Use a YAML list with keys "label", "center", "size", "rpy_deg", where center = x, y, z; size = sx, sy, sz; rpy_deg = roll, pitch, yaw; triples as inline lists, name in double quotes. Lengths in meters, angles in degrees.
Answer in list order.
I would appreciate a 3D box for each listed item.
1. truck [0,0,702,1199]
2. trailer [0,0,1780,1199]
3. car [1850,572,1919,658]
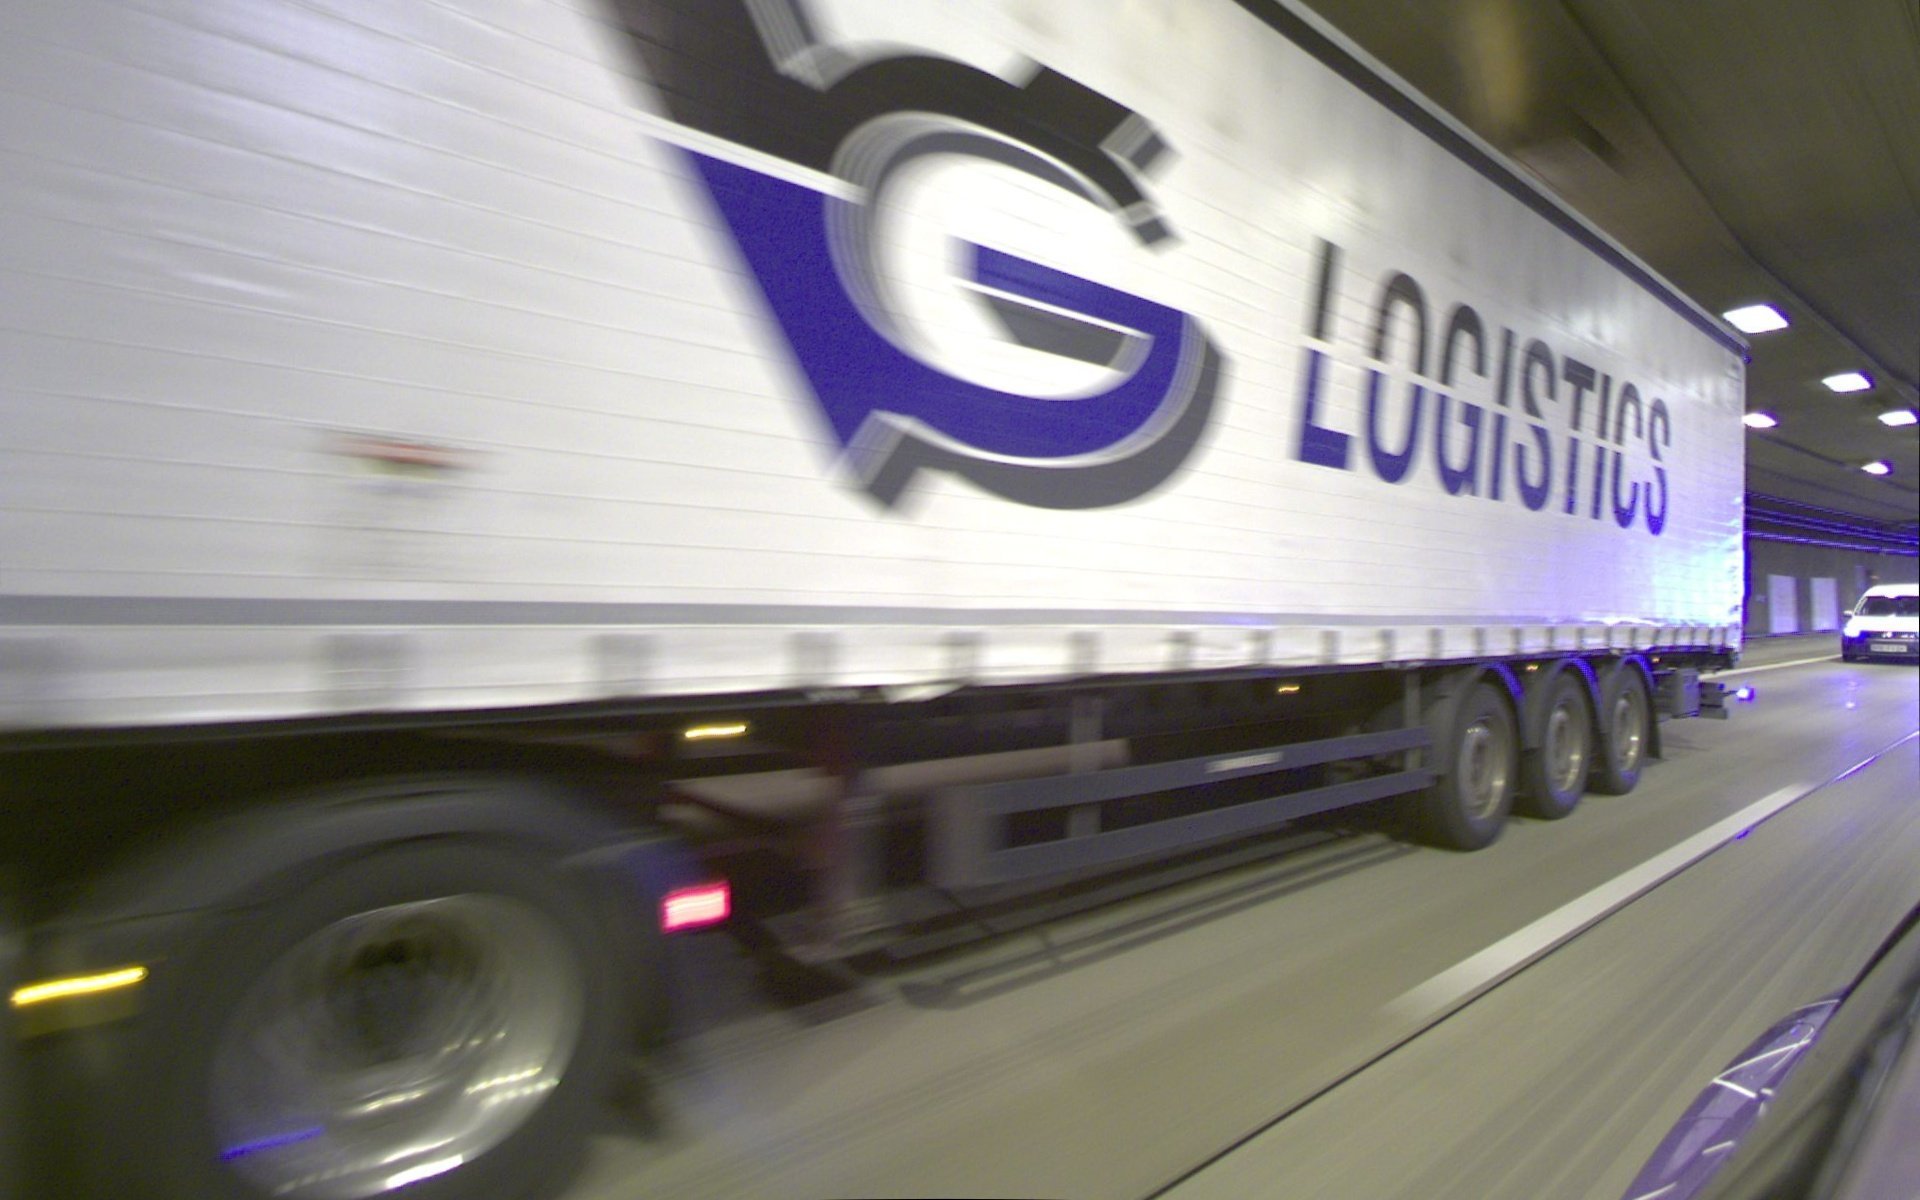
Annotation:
- label: "truck"
  center: [-3.682, -0.728, 1.430]
  size: [5.898, 4.216, 2.651]
  rpy_deg: [0, 0, -40]
- label: "trailer"
  center: [1.614, -0.752, 6.004]
  size: [13.755, 4.216, 2.625]
  rpy_deg: [0, 0, -41]
- label: "car"
  center: [22.372, 0.324, 23.543]
  size: [4.211, 1.883, 1.839]
  rpy_deg: [0, 0, -39]
